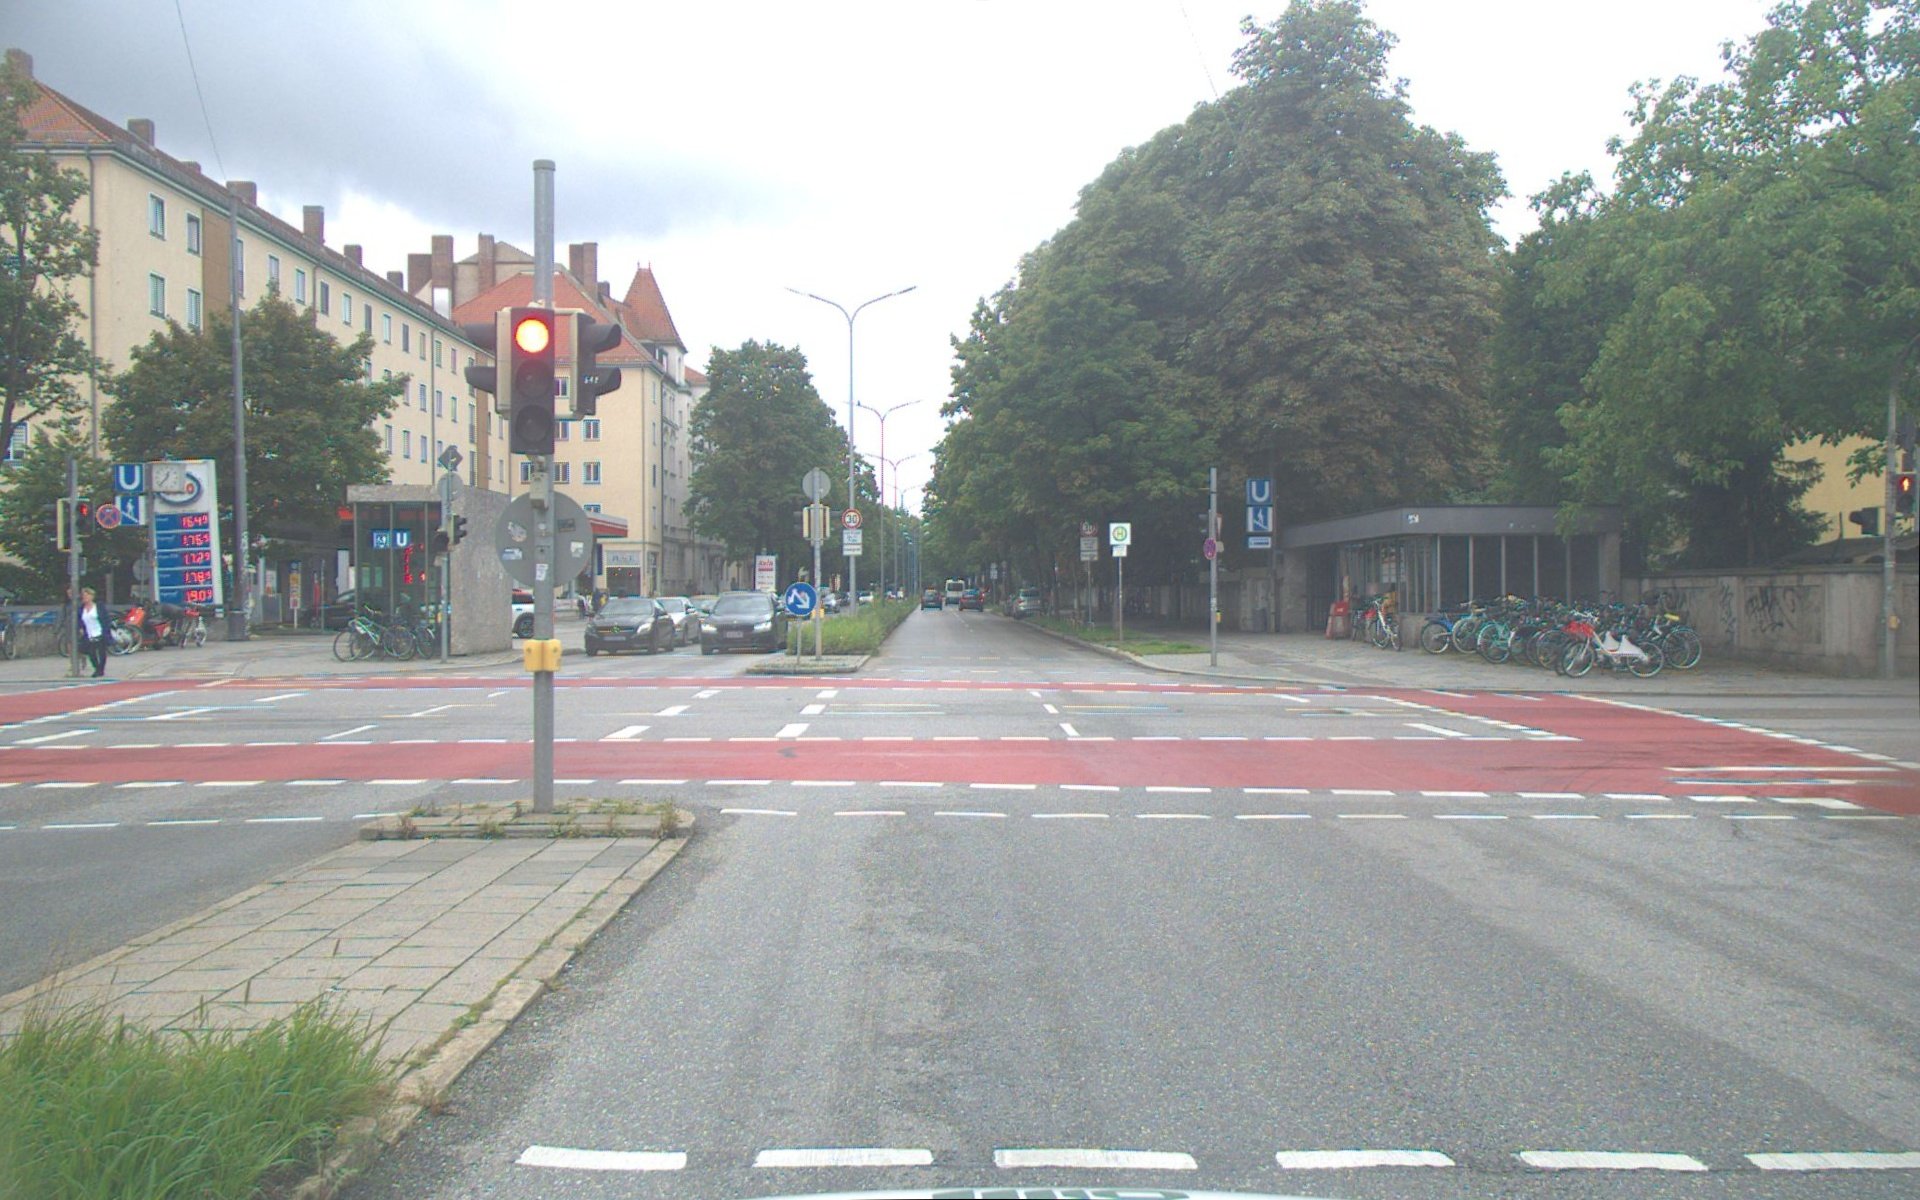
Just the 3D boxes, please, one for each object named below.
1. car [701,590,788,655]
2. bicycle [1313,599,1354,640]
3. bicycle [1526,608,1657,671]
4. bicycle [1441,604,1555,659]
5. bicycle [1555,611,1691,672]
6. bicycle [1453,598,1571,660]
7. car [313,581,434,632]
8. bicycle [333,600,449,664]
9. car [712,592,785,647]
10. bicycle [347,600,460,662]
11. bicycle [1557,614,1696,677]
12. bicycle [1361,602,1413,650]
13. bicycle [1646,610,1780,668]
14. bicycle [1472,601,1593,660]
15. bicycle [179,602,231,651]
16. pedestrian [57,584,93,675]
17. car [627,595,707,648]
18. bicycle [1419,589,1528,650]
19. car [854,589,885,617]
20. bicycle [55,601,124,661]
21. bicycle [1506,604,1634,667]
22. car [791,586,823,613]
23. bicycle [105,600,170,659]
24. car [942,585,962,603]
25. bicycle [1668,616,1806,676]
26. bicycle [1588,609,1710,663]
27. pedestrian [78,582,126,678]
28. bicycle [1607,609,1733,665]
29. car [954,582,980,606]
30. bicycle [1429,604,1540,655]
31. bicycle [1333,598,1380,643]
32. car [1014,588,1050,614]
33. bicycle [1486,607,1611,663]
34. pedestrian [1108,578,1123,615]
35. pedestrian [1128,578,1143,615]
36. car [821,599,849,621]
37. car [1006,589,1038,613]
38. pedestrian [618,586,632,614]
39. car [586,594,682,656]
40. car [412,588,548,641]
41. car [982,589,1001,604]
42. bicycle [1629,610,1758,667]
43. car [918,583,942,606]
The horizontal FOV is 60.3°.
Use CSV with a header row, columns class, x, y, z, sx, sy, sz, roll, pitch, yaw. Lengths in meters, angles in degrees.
class,x,y,z,sx,sy,sz,roll,pitch,yaw
car,-5.322,0.517,41.272,1.724,1.519,3.999,0,0,-1
bicycle,9.751,0.490,43.238,0.545,1.032,2.014,0,0,-3
bicycle,11.234,0.704,29.460,2.097,1.089,0.603,0,0,7
bicycle,10.716,0.621,32.989,2.097,1.080,0.603,0,0,7
bicycle,11.465,0.716,28.659,2.097,1.032,0.634,0,0,7
bicycle,10.757,0.562,32.288,2.097,1.199,0.603,0,0,7
car,-22.126,0.224,62.505,3.908,1.870,1.879,0,0,-4
bicycle,-12.225,0.679,35.578,2.225,1.327,0.704,0,0,0
car,-6.216,0.549,48.952,1.724,1.519,3.999,0,0,-1
bicycle,-12.214,0.675,36.358,2.238,1.327,0.694,0,0,0
bicycle,11.280,0.767,28.031,2.097,1.032,0.603,0,0,7
bicycle,9.556,0.567,37.086,0.545,1.032,2.014,0,0,-3
bicycle,13.544,0.700,29.795,2.097,1.032,0.634,0,0,7
bicycle,10.898,0.585,31.553,2.097,1.105,0.603,0,0,7
bicycle,-18.753,0.652,41.095,0.596,1.165,1.963,0,0,-7
pedestrian,-17.034,0.558,31.834,0.584,1.725,0.571,0,0,-32
car,-8.628,0.600,49.001,1.724,1.486,3.999,0,0,-1
bicycle,10.718,0.404,34.589,2.097,1.240,0.603,0,0,7
car,-4.707,0.142,86.226,1.438,1.423,3.699,0,0,-1
bicycle,-18.980,0.652,36.117,0.596,1.257,2.184,0,0,-7
bicycle,11.088,0.649,30.112,2.097,1.120,0.603,0,0,7
car,-9.650,-0.050,104.775,1.839,1.697,3.998,0,0,-3
bicycle,-18.348,0.645,36.956,0.596,1.257,2.184,0,0,-7
car,-0.815,-0.621,165.642,1.953,1.787,3.999,0,0,-2
bicycle,13.608,0.803,28.999,2.097,1.032,0.634,0,0,7
bicycle,13.379,0.697,32.139,2.097,1.032,0.634,0,0,7
pedestrian,-15.495,0.531,29.874,0.522,1.725,0.577,0,0,9
bicycle,13.444,0.699,31.355,2.097,1.032,0.634,0,0,7
car,0.530,-0.428,124.823,1.883,1.713,3.999,1,0,-1
bicycle,10.730,0.603,33.871,2.097,1.032,0.603,0,0,7
bicycle,9.526,0.475,39.817,0.545,1.032,2.014,0,0,-3
car,3.925,0.042,90.594,1.708,1.387,3.805,0,0,-1
bicycle,10.950,0.653,30.825,2.097,1.032,0.603,0,0,7
pedestrian,7.231,-0.150,76.915,0.663,1.712,0.683,0,0,5
pedestrian,8.172,-0.160,77.083,0.663,1.712,0.683,0,0,5
car,-8.876,0.692,117.797,1.724,1.519,3.999,0,0,-1
car,3.774,0.046,100.718,1.708,1.387,3.805,0,0,-1
pedestrian,-19.780,0.009,97.735,0.682,1.666,0.738,0,0,-1
car,-8.241,0.597,42.162,1.724,1.486,3.999,0,0,-1
car,-15.600,0.445,53.841,1.783,1.637,3.945,0,1,41
car,3.048,-0.337,160.442,1.708,1.452,3.898,0,0,-1
bicycle,13.537,0.702,30.563,2.097,1.032,0.634,0,0,7
car,-2.302,-0.418,128.415,1.819,1.713,3.999,0,0,-1
